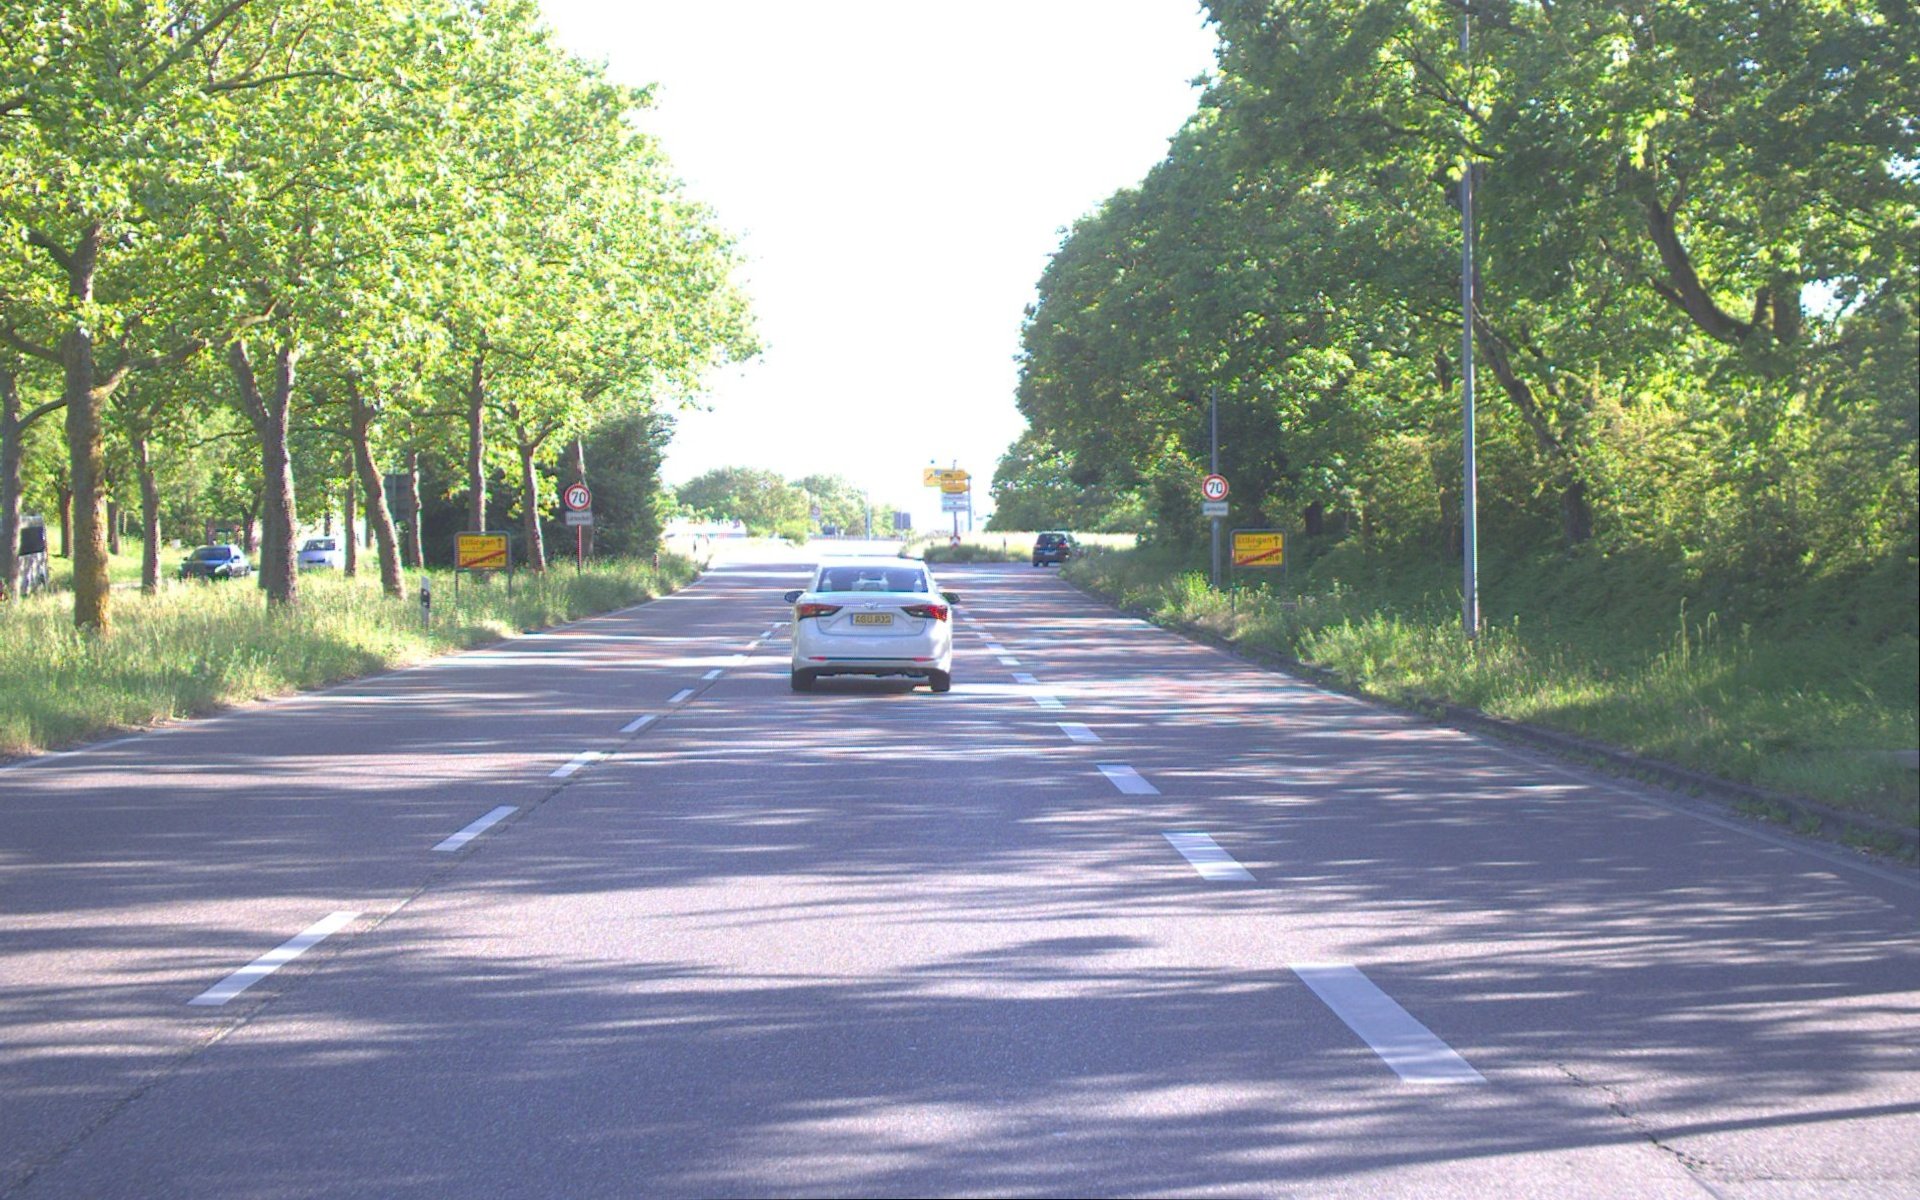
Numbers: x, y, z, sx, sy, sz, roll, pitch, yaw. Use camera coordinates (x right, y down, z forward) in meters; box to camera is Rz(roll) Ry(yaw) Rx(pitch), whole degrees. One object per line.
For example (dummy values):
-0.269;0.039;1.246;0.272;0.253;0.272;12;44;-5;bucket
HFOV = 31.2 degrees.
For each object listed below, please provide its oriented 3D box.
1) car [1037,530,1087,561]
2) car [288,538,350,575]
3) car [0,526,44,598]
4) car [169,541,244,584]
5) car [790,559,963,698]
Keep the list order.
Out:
4.867;-2.598;163.340;1.768;1.459;4.364;0;1;10;car
-26.115;-1.781;140.228;1.767;1.459;4.366;0;1;-1;car
-26.562;-1.033;92.996;2.134;1.895;5.742;0;1;-1;car
-26.649;-1.346;121.688;1.767;1.459;4.366;0;1;-1;car
-0.893;0.279;39.210;1.767;1.459;4.366;0;1;1;car
